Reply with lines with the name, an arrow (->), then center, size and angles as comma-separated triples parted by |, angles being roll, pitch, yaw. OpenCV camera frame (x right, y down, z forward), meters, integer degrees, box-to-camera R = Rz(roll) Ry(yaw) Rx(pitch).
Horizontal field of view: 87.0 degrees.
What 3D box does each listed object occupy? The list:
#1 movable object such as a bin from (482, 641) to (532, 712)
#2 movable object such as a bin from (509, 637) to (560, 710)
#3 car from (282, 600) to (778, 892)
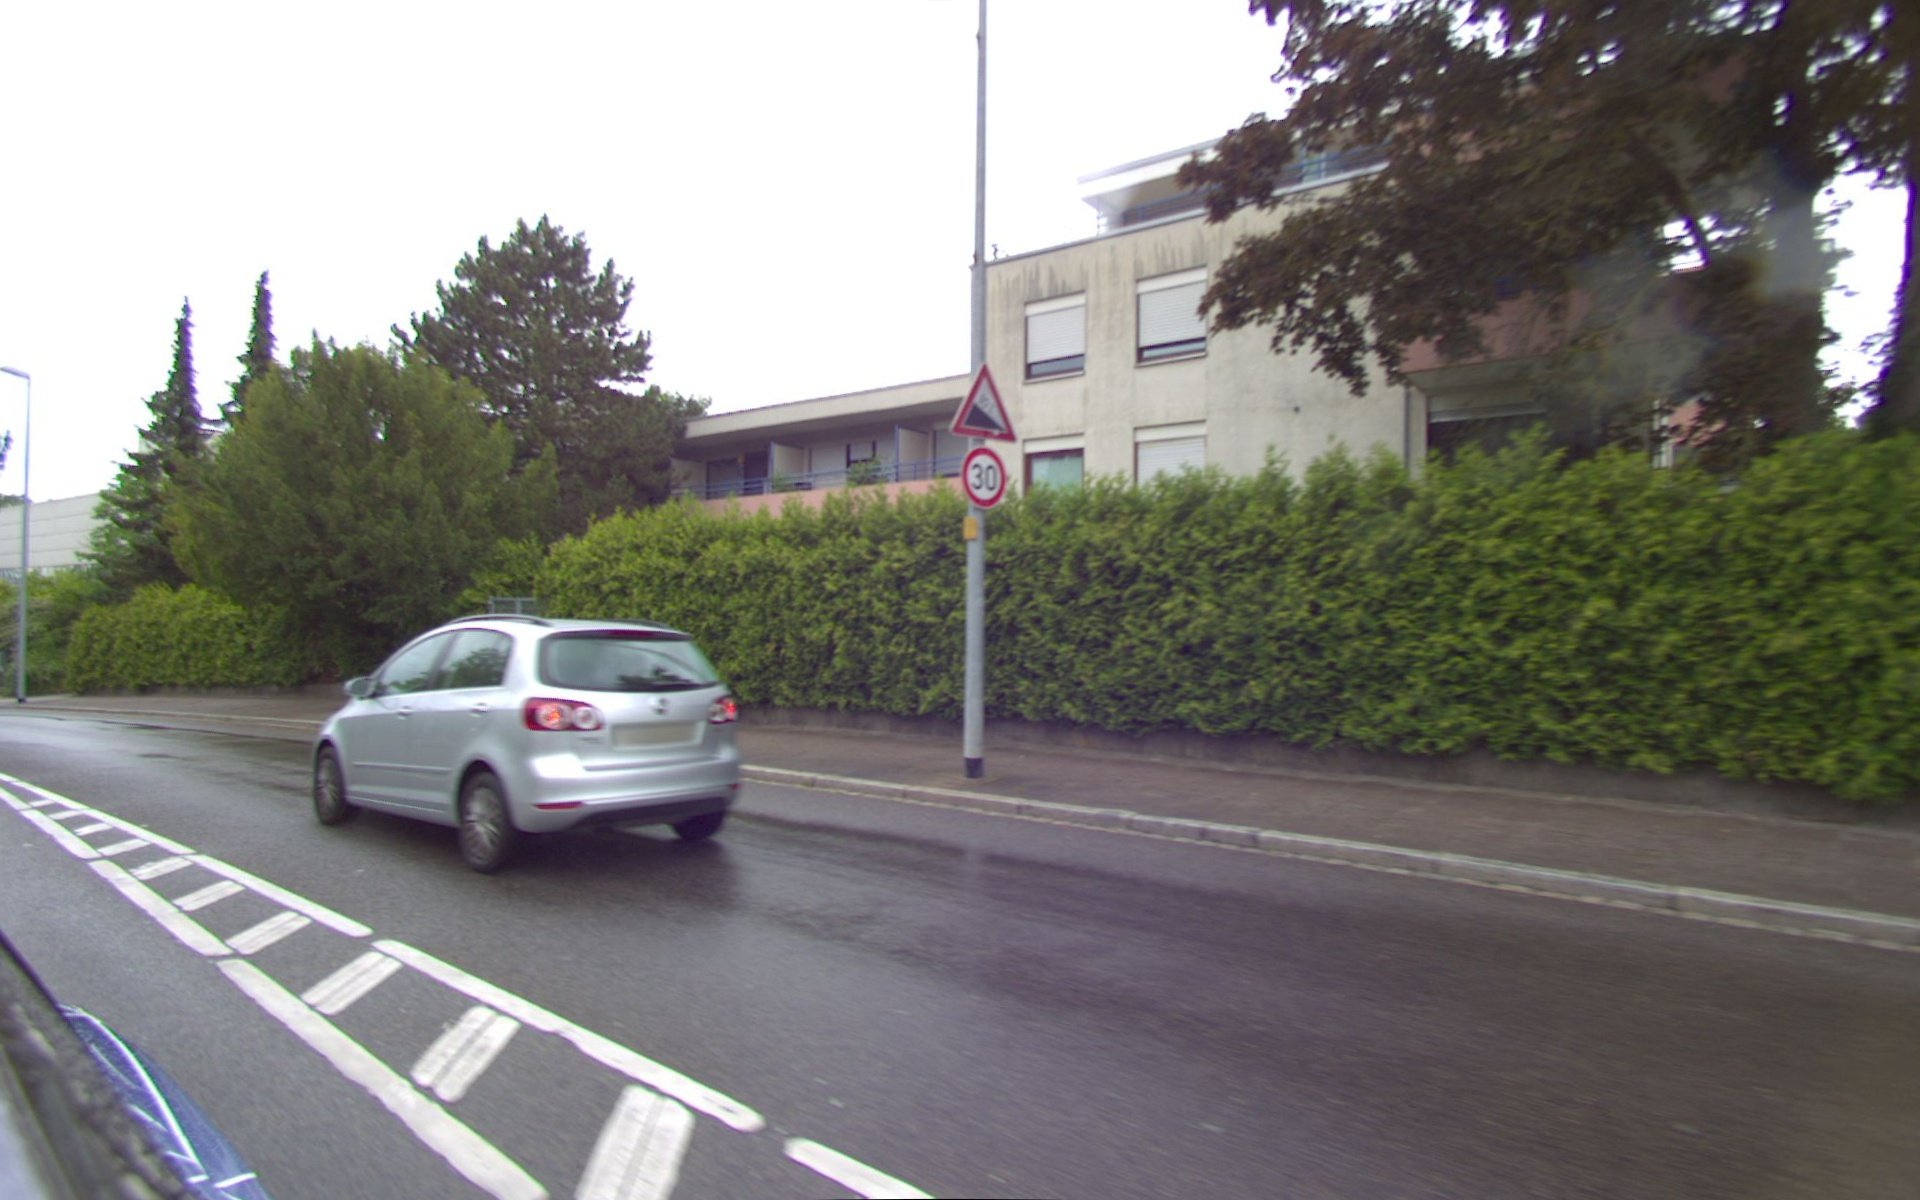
movable object such as a bin -> -8.868, 1.487, 19.813 | 0.804, 1.336, 0.542 | -4, -2, 36
movable object such as a bin -> -8.103, 1.396, 19.274 | 0.804, 1.336, 0.542 | -4, -2, 36
car -> -3.322, 0.904, 7.477 | 4.053, 1.592, 1.618 | -2, -5, 39
